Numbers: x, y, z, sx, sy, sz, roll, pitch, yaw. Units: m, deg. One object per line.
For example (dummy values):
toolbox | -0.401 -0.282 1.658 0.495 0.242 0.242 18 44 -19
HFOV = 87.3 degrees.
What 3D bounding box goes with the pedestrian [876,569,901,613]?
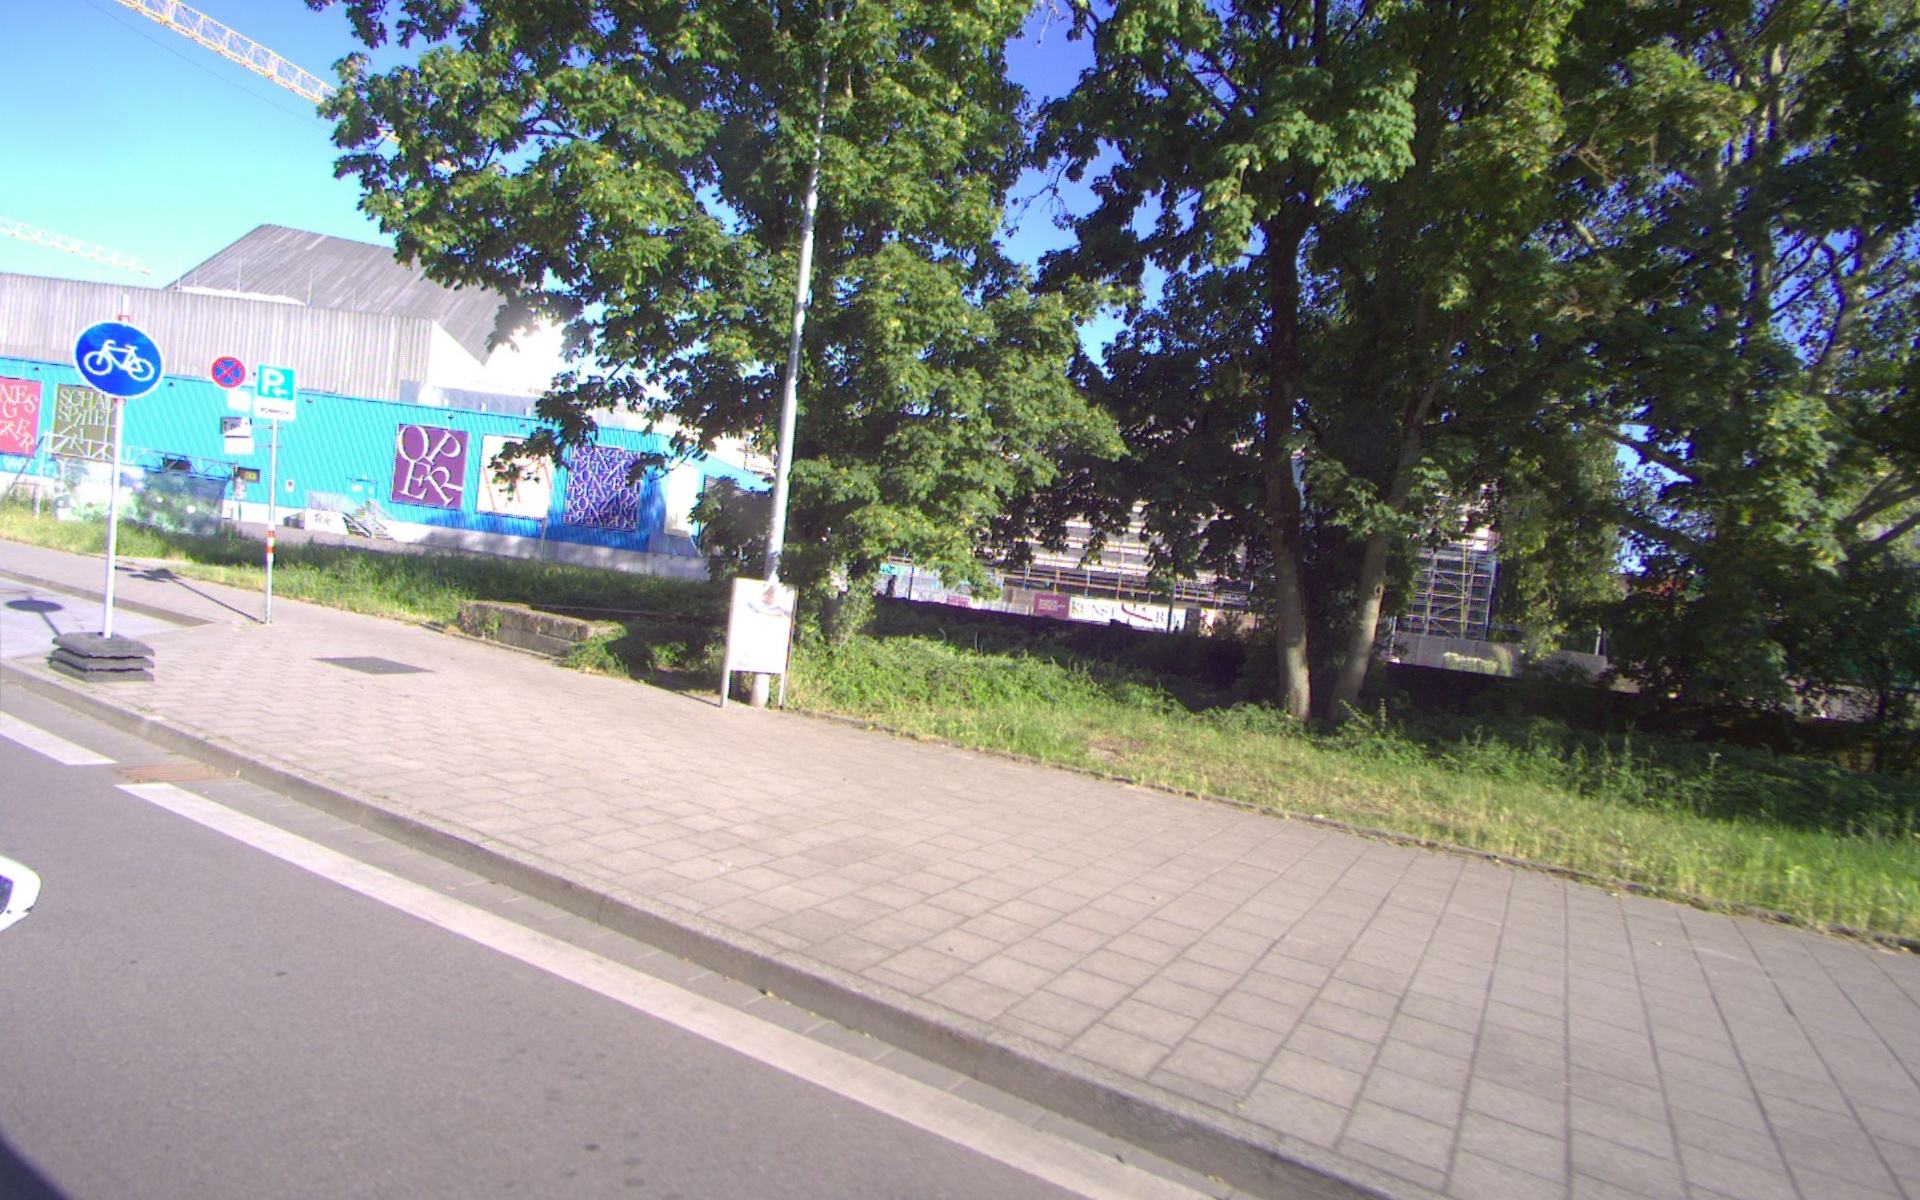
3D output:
pedestrian | -3.527 -0.438 49.589 0.932 2.039 0.913 5 0 4
